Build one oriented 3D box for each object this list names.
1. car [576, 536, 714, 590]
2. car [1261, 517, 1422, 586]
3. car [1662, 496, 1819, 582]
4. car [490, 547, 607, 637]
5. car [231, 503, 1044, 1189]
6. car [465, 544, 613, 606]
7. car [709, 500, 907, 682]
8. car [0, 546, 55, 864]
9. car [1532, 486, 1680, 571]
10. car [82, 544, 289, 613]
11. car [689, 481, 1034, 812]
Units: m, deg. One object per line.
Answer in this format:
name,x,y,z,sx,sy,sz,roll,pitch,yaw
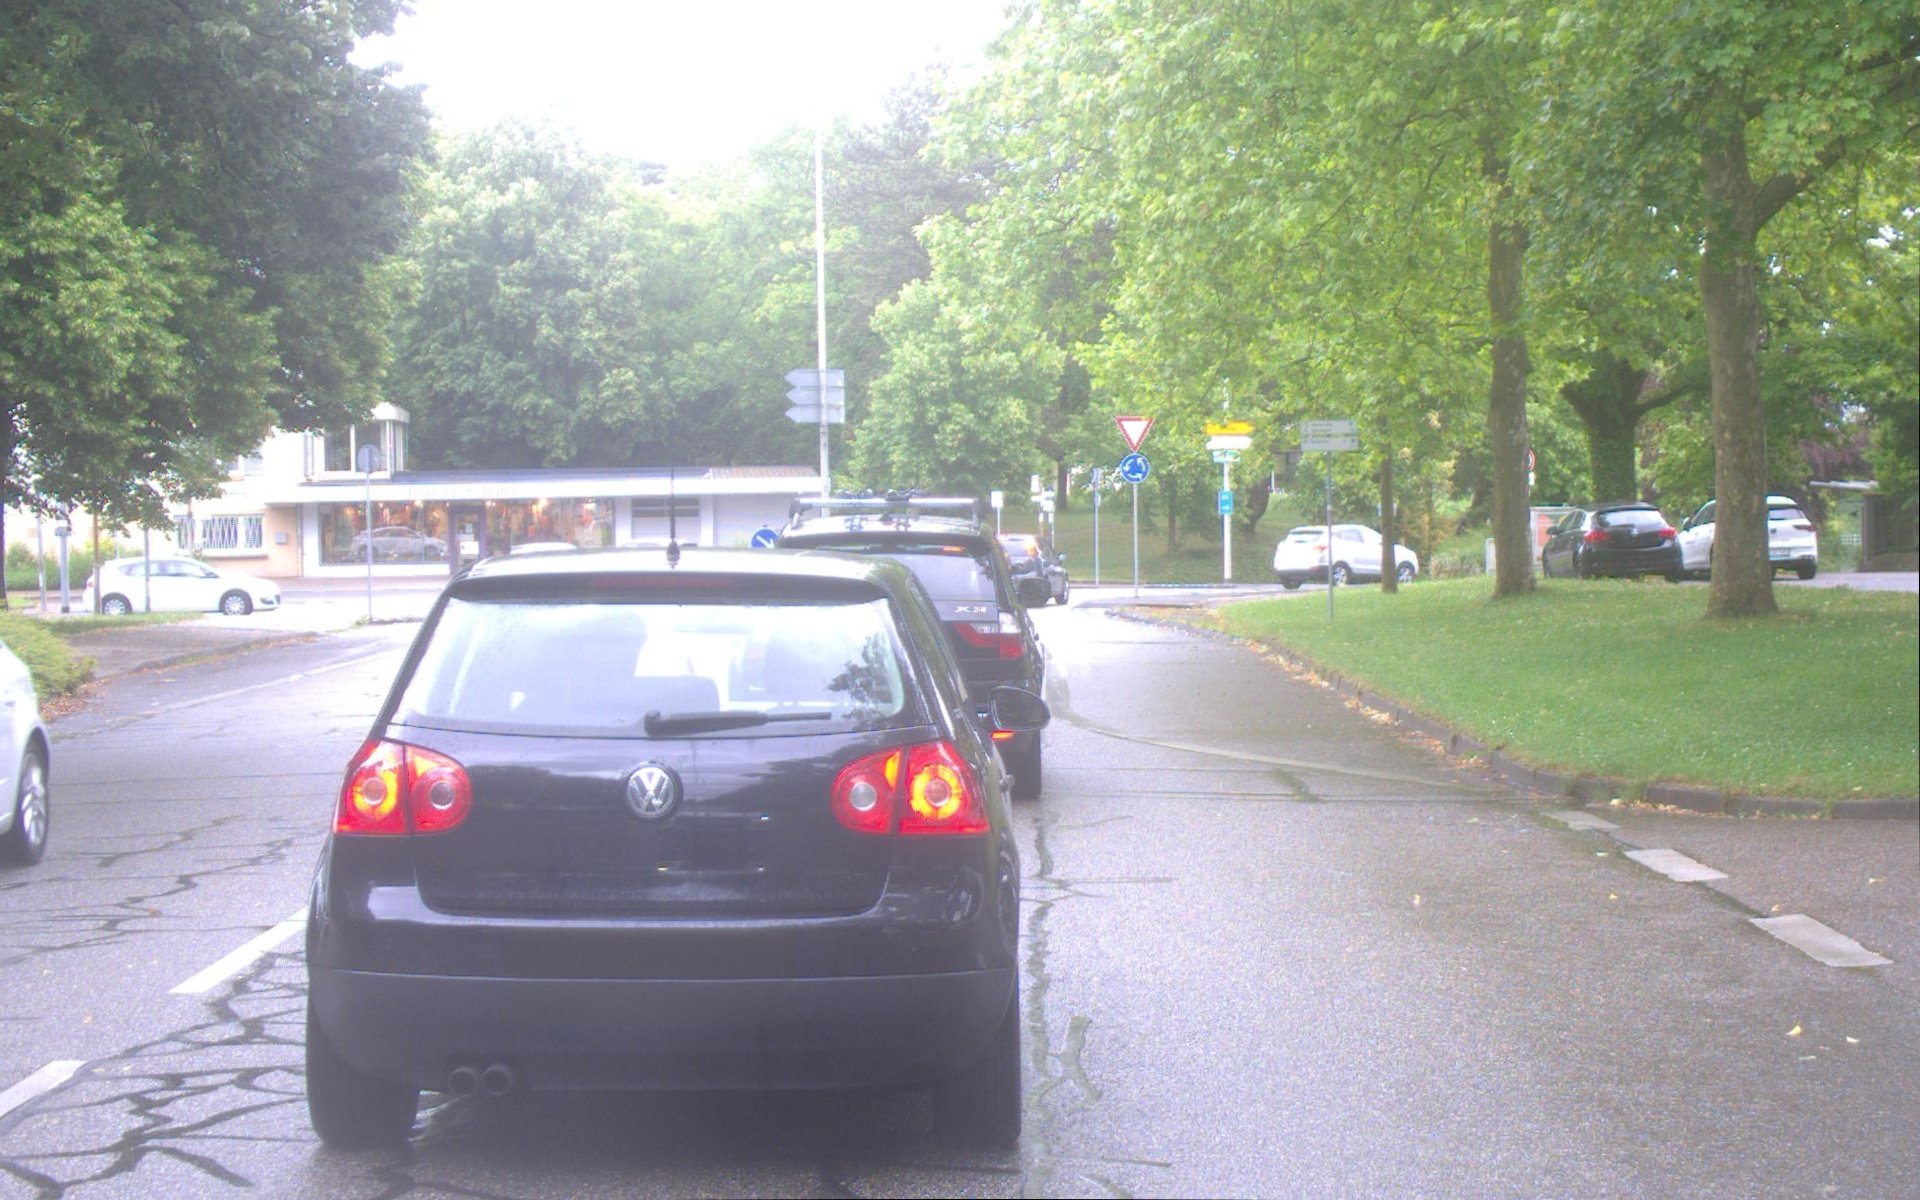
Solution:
car,-9.222,-1.081,100.663,3.666,1.508,1.709,-1,1,28
car,10.019,-1.280,90.222,3.989,1.700,1.999,-2,1,-41
car,13.785,-1.096,60.916,1.803,1.401,4.000,-3,1,0
car,-6.916,-0.165,58.069,1.797,1.388,3.979,-3,1,-5
car,-0.706,0.528,9.522,1.799,1.510,3.754,0,1,0
car,-9.458,-0.566,77.343,3.119,1.305,1.540,-2,1,0
car,-1.535,-0.109,36.059,1.855,1.778,4.000,-1,0,0
car,-5.130,0.535,14.663,1.608,1.422,4.009,-2,2,-3
car,11.351,-1.266,60.609,1.803,1.381,4.000,-3,1,0
car,-17.660,-0.498,78.539,4.494,1.414,1.847,-2,1,-10
car,-0.522,0.222,20.710,1.855,1.778,4.000,-1,1,0
